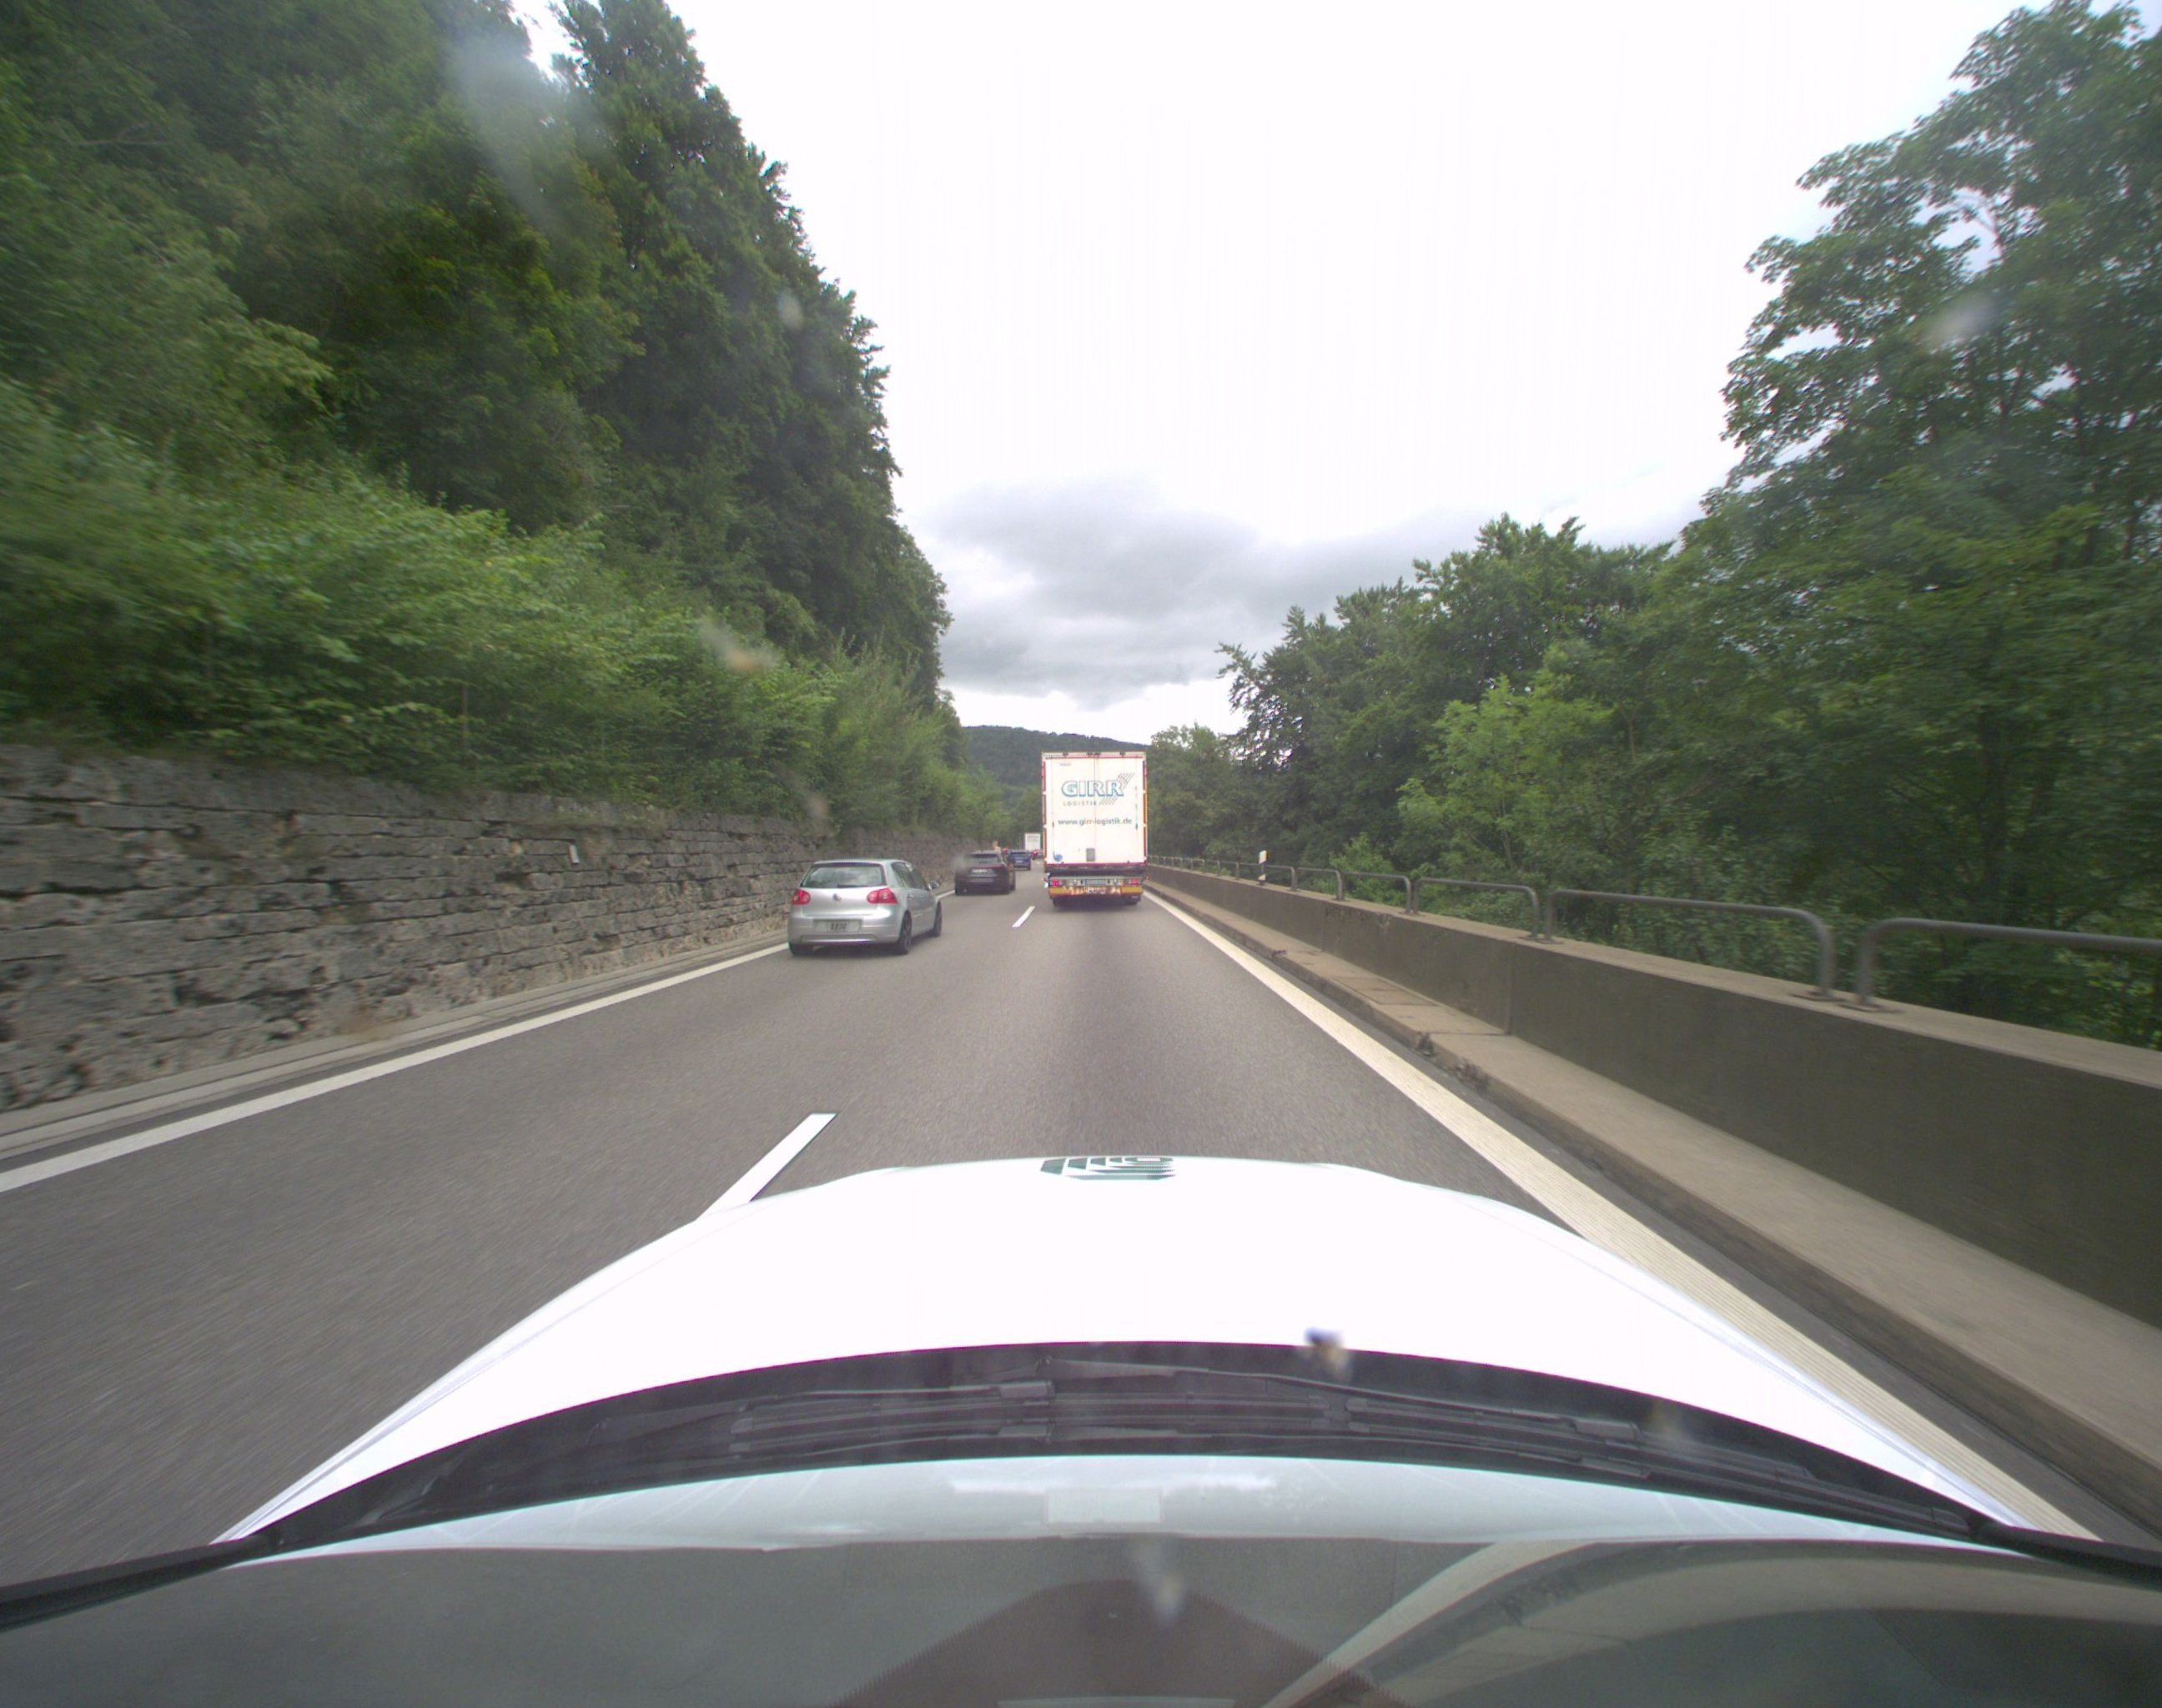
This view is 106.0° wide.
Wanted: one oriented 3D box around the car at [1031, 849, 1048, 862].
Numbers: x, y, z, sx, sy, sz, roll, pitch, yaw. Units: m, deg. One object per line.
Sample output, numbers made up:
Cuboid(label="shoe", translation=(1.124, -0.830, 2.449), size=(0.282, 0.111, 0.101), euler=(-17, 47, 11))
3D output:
Cuboid(label="car", translation=(-5.717, 0.188, 110.930), size=(2.058, 1.654, 3.991), euler=(-1, 0, -6))

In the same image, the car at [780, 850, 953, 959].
Cuboid(label="car", translation=(-3.399, 0.759, 13.821), size=(1.675, 1.515, 4.583), euler=(-1, -1, 0))

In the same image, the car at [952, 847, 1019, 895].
Cuboid(label="car", translation=(-3.514, 0.606, 30.925), size=(1.988, 1.632, 5.006), euler=(-2, 0, -1))

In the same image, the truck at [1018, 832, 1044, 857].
Cuboid(label="truck", translation=(-8.263, -1.460, 132.916), size=(2.636, 3.857, 12.309), euler=(-1, 0, -12))

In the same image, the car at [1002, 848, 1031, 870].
Cuboid(label="car", translation=(-5.116, 0.359, 64.242), size=(1.992, 1.632, 4.996), euler=(-1, 1, -7))

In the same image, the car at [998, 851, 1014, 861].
Cuboid(label="car", translation=(-12.520, 0.352, 135.257), size=(1.996, 1.596, 4.335), euler=(-2, 0, -13))

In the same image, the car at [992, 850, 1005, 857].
Cuboid(label="car", translation=(-17.231, -0.129, 169.634), size=(1.902, 1.550, 4.223), euler=(0, 0, -18))

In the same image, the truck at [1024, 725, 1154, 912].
Cuboid(label="truck", translation=(0.262, -0.859, 27.217), size=(3.074, 4.464, 15.155), euler=(-1, 0, 1))
